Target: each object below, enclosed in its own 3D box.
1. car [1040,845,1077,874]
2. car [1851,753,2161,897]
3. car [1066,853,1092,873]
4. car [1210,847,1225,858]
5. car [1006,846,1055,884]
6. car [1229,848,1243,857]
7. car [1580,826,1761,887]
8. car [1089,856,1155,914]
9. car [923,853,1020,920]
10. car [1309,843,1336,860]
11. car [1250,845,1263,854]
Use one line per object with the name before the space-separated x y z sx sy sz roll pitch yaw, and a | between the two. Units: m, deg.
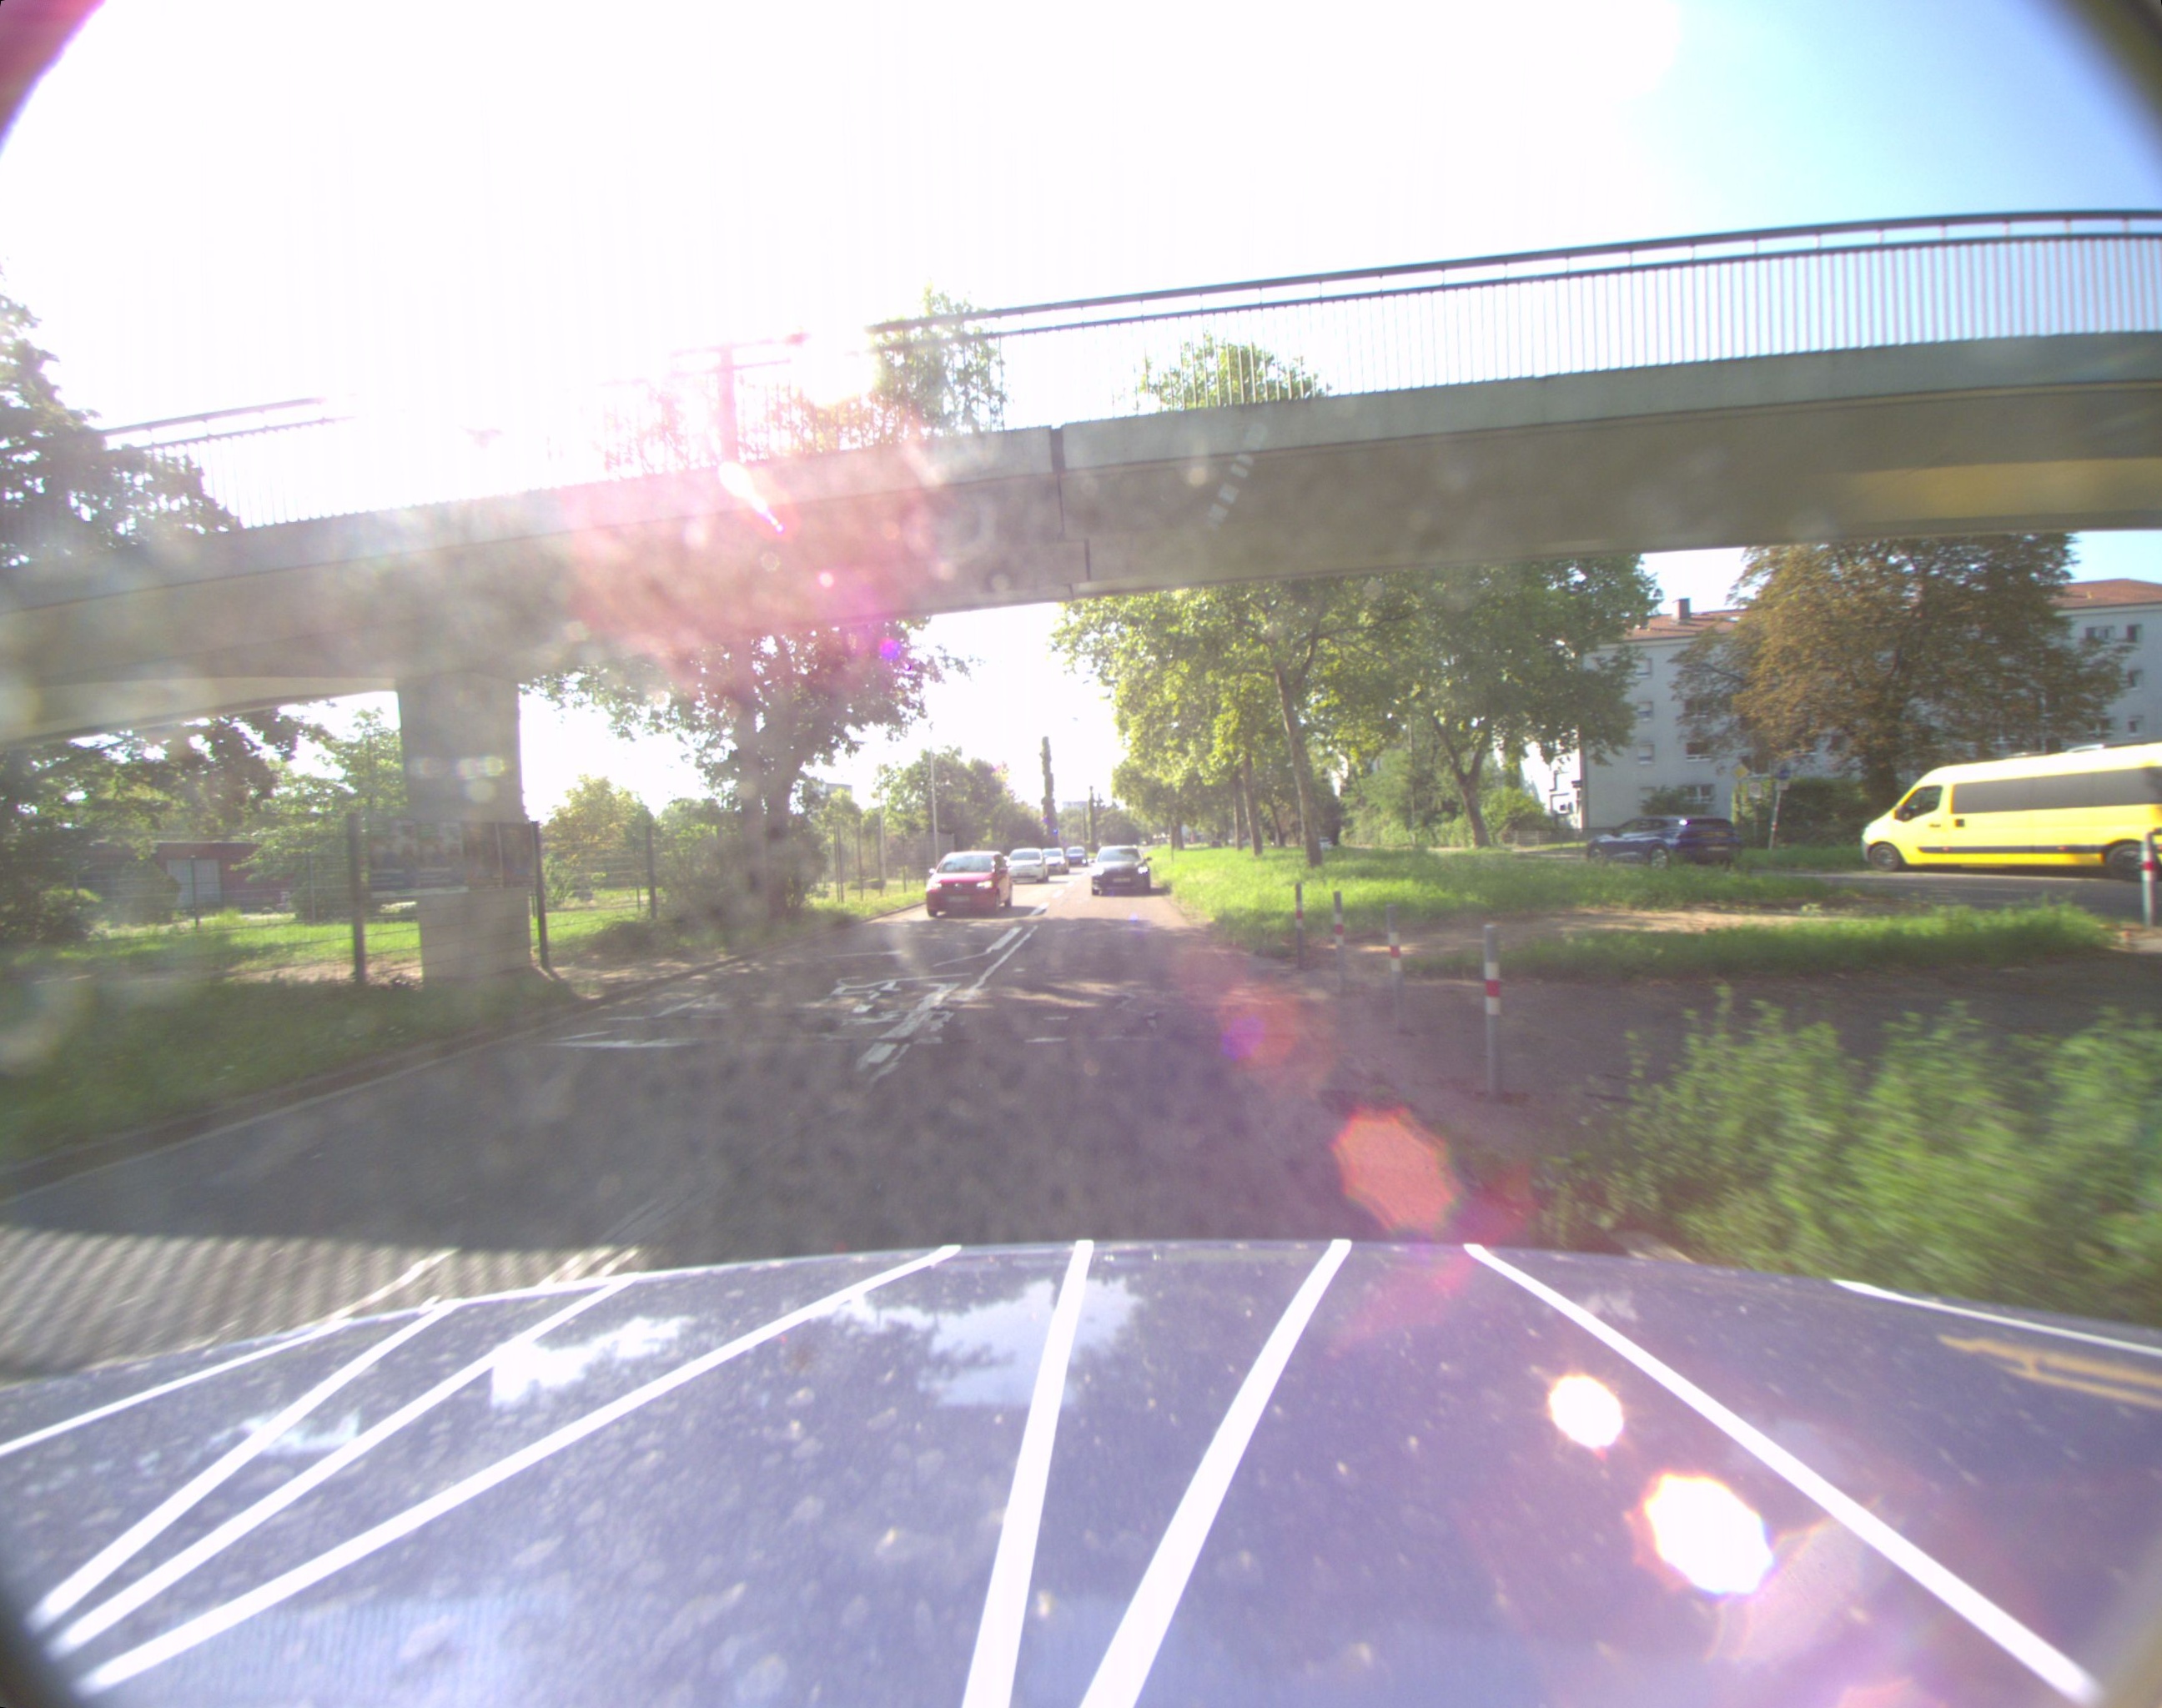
car | -1.228 0.288 43.019 1.649 1.467 3.899 -3 1 4
car | 19.776 -0.597 15.508 2.212 2.465 6.061 -3 1 4
car | -0.138 0.697 59.511 1.649 1.378 3.899 -3 1 4
car | 22.142 -0.311 123.653 1.779 1.607 4.857 -3 1 4
car | -2.216 0.450 34.246 1.649 1.467 3.899 -3 1 3
car | 25.642 -0.272 125.743 1.649 1.356 3.899 -3 0 3
car | 17.101 0.041 22.386 1.792 1.524 4.455 -3 1 0
car | 1.335 0.923 24.284 1.862 1.572 3.612 -3 1 4
car | -2.577 0.731 18.624 1.578 1.390 3.472 -2 1 4
car | 23.984 -0.272 75.529 1.649 1.471 3.899 -3 1 4
car | 28.727 -0.709 124.504 1.612 1.284 3.524 -3 1 7
